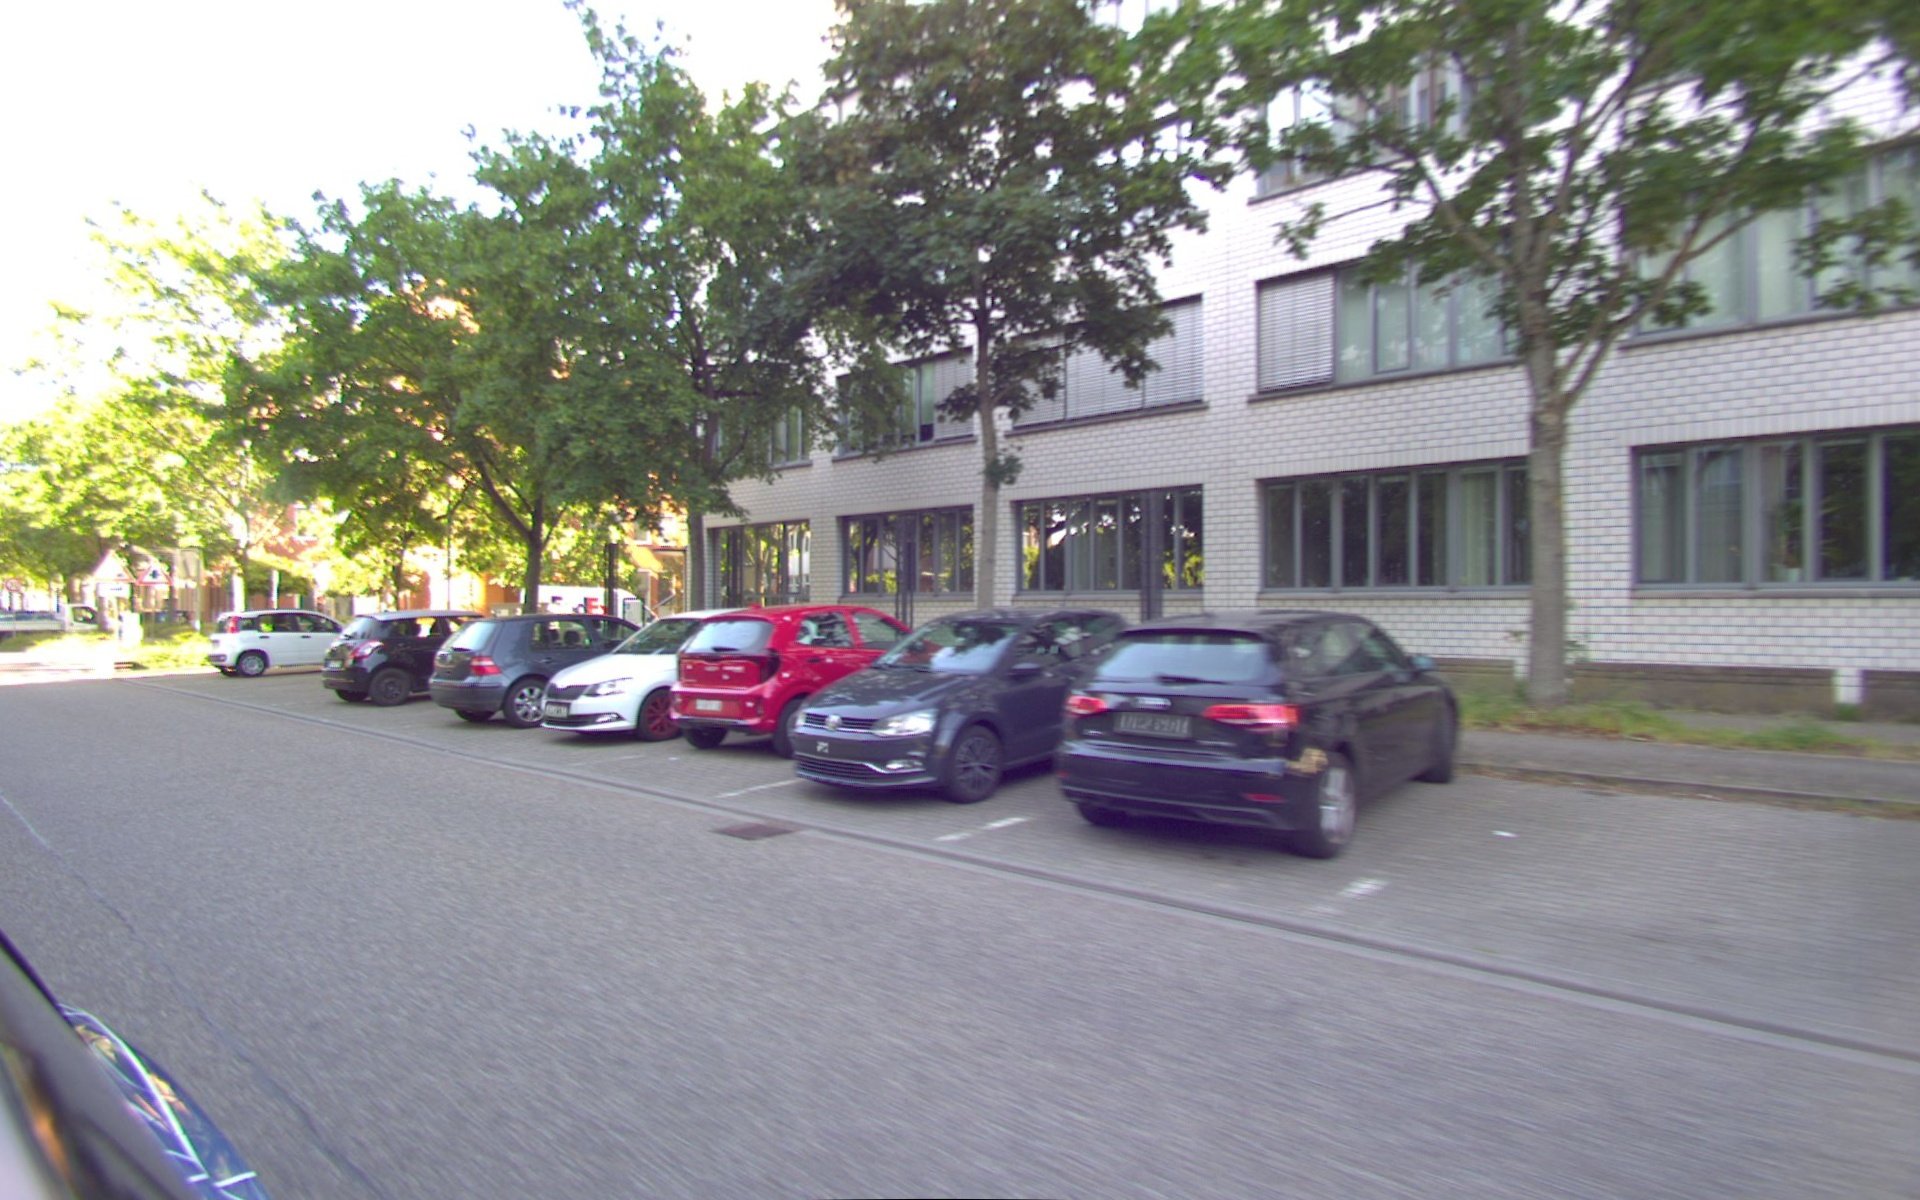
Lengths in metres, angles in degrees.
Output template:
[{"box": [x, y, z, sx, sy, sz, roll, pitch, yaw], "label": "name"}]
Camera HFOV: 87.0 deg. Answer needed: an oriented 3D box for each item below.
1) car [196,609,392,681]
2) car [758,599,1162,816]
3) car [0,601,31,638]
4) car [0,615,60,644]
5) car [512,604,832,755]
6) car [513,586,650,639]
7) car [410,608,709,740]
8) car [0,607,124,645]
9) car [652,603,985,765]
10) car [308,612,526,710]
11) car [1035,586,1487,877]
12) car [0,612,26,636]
[{"box": [-15.759, 1.000, 24.070, 1.616, 1.519, 3.585, -1, 0, 39], "label": "car"}, {"box": [0.163, 0.730, 8.756, 1.656, 1.447, 3.494, -1, 0, 40], "label": "car"}, {"box": [-56.834, 1.156, 58.848, 1.998, 2.122, 3.948, -1, 0, 39], "label": "car"}, {"box": [-51.075, 1.577, 54.340, 1.953, 1.483, 3.915, -1, 0, 42], "label": "car"}, {"box": [-3.418, 0.838, 12.474, 1.656, 1.541, 3.483, -1, 0, 40], "label": "car"}, {"box": [-16.096, 0.489, 43.344, 1.931, 2.114, 5.262, -1, 0, 39], "label": "car"}, {"box": [-5.419, 0.903, 13.987, 1.645, 1.517, 3.494, -1, 0, 40], "label": "car"}, {"box": [-41.861, 1.169, 46.449, 1.953, 1.637, 5.183, -1, 0, 42], "label": "car"}, {"box": [-1.418, 0.779, 11.190, 1.655, 1.456, 3.496, -1, 0, 38], "label": "car"}, {"box": [-8.952, 0.931, 16.809, 1.389, 1.454, 2.895, -1, 0, 41], "label": "car"}, {"box": [2.333, 0.677, 7.156, 1.686, 1.424, 3.784, -3, 0, 40], "label": "car"}, {"box": [-60.579, 1.495, 62.589, 1.593, 1.425, 3.947, -1, -1, 39], "label": "car"}]
